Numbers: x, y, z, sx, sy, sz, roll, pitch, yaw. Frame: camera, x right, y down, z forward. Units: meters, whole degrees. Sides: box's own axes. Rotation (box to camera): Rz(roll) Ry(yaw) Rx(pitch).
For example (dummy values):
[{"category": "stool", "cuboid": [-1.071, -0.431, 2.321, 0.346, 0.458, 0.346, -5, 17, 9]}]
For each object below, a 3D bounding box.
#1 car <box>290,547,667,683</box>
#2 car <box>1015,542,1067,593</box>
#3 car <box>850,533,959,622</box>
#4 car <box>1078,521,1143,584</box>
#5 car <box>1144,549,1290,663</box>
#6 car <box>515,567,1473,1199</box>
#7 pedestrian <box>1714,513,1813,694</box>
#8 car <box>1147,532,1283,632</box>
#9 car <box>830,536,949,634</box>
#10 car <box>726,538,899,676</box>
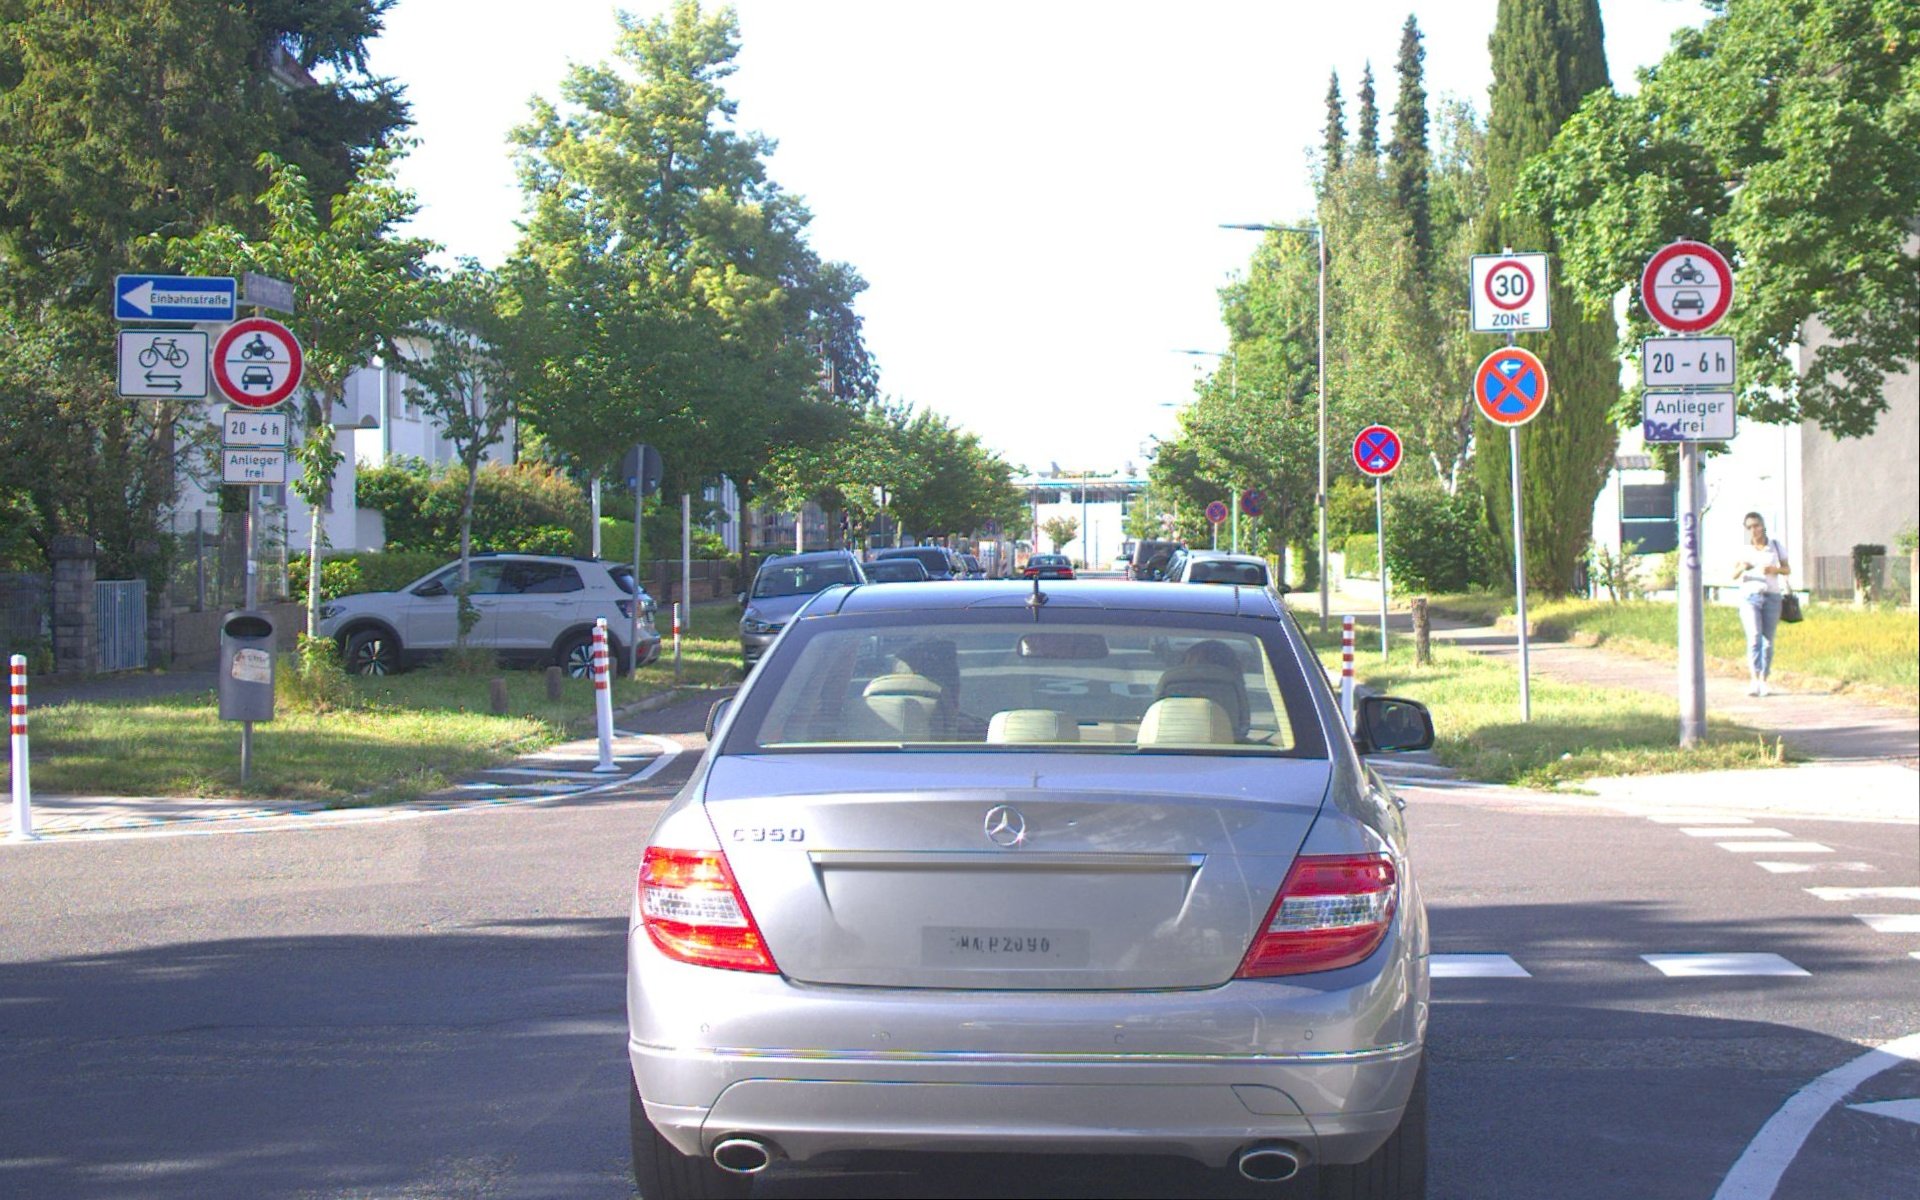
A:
[{"category": "car", "cuboid": [-5.617, 0.159, 40.489, 4.192, 1.558, 1.842, 0, 1, -1]}, {"category": "car", "cuboid": [2.593, -1.059, 110.999, 1.597, 1.604, 3.644, -1, 1, 0]}, {"category": "car", "cuboid": [-1.086, -0.479, 69.074, 1.993, 1.604, 4.000, -4, 1, 0]}, {"category": "car", "cuboid": [4.485, -1.426, 103.123, 1.855, 1.835, 4.000, -1, 1, 2]}, {"category": "car", "cuboid": [3.512, 0.049, 47.571, 1.733, 1.474, 3.725, -1, 1, 0]}, {"category": "car", "cuboid": [0.171, 0.649, 8.580, 1.836, 1.436, 4.000, 0, 1, 3]}, {"category": "pedestrian", "cuboid": [7.244, 0.024, 31.034, 0.766, 1.605, 0.834, -1, 1, 7]}, {"category": "car", "cuboid": [4.291, -0.333, 58.384, 1.993, 1.604, 4.000, -1, 1, 0]}, {"category": "car", "cuboid": [-1.266, -0.302, 63.284, 1.993, 1.604, 4.000, -4, 1, 0]}, {"category": "car", "cuboid": [-1.905, 0.055, 45.489, 1.993, 1.604, 4.000, -4, 1, 0]}]
